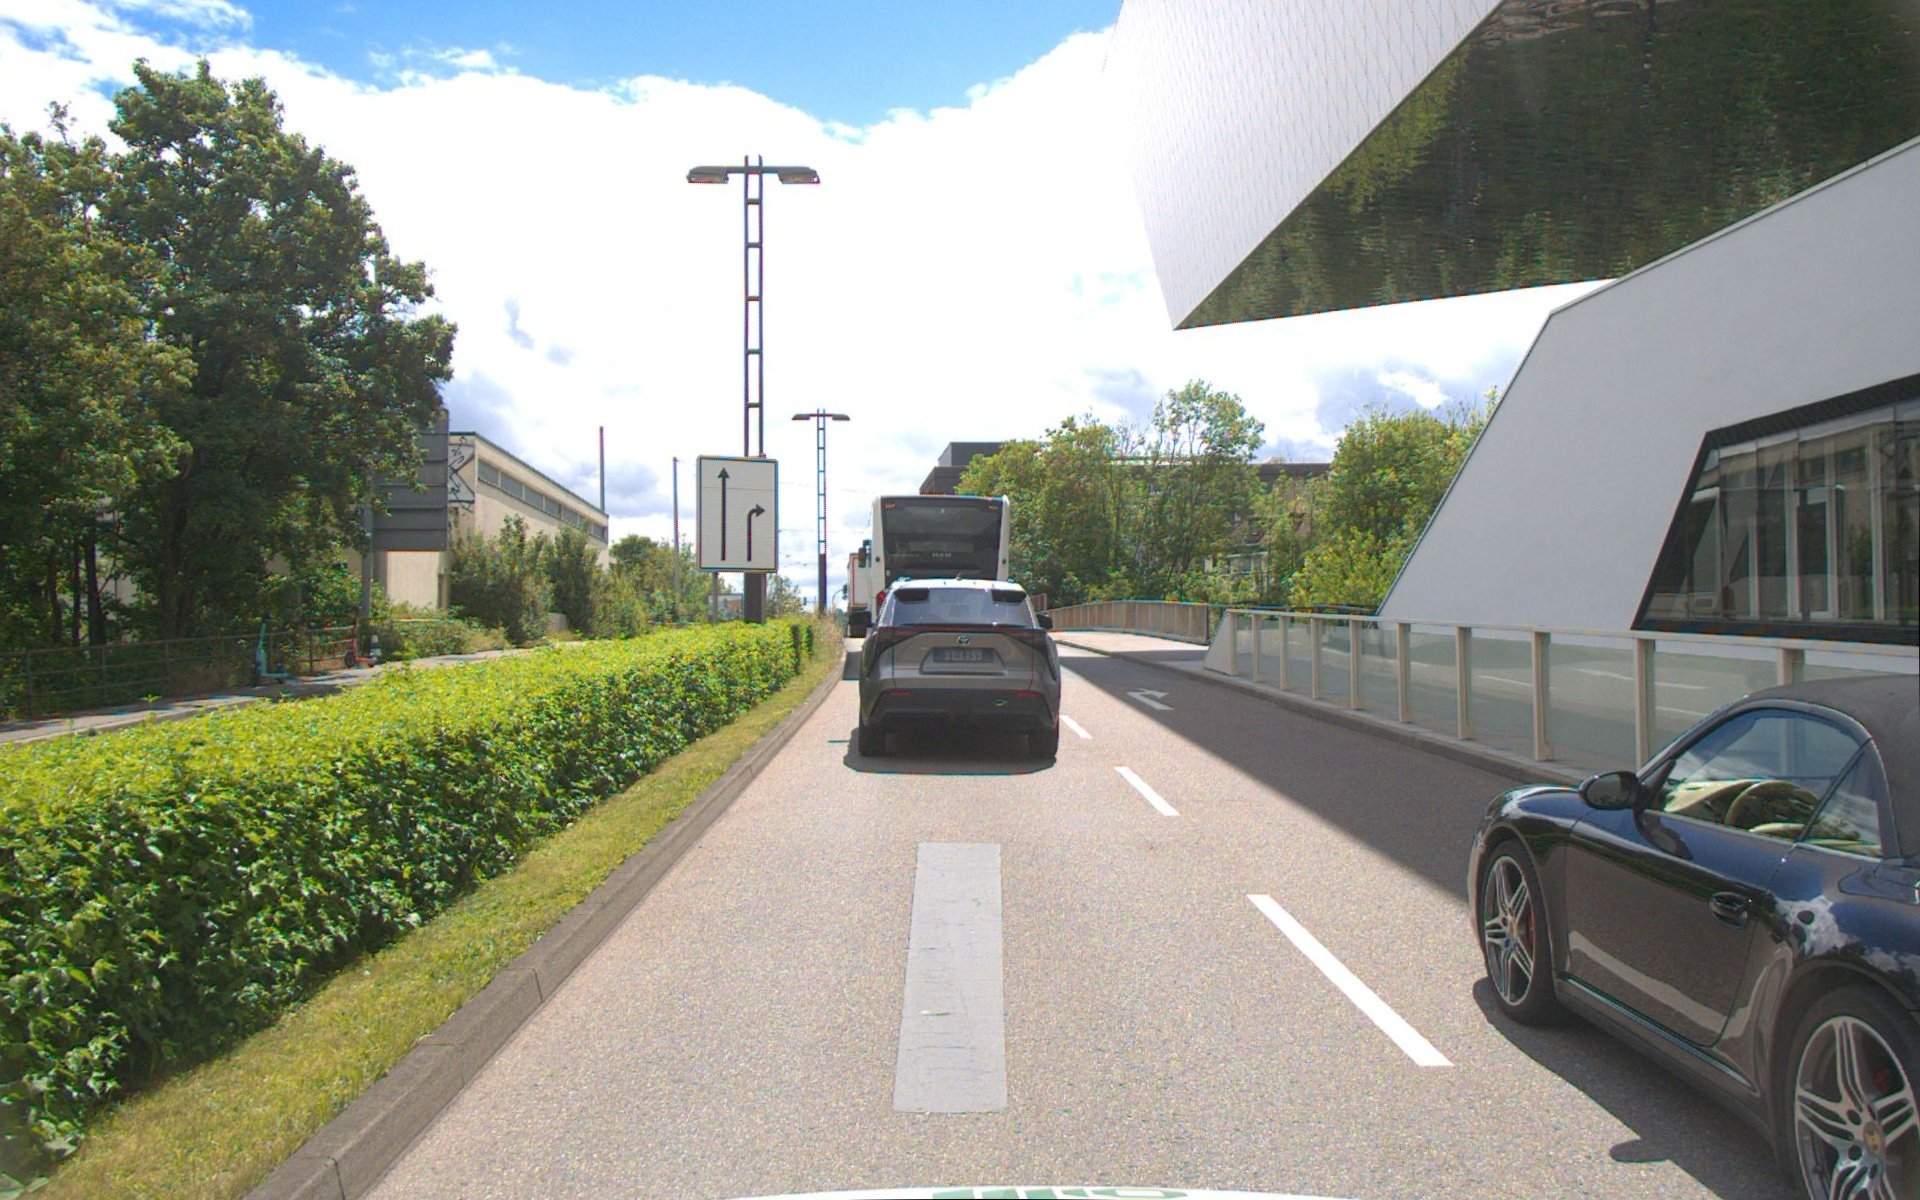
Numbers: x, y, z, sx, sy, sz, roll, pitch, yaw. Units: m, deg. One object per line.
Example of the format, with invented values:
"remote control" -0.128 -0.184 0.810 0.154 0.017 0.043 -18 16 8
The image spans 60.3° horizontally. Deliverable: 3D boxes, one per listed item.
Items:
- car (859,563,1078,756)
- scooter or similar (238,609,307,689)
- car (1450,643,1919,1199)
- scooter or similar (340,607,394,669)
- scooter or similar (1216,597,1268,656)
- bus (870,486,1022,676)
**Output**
"car" 0.009 0.512 16.152 1.842 1.622 4.228 1 0 -2
"scooter or similar" -11.991 0.834 28.883 0.481 1.327 1.643 1 0 1
"car" 2.837 0.820 4.594 1.685 1.297 4.087 0 0 -1
"scooter or similar" -12.247 0.772 34.196 0.481 1.237 1.643 -1 0 1
"scooter or similar" 6.066 0.558 35.655 0.640 1.235 1.856 -1 0 -4
"bus" -0.294 -0.443 35.139 2.634 3.312 12.057 1 1 0
